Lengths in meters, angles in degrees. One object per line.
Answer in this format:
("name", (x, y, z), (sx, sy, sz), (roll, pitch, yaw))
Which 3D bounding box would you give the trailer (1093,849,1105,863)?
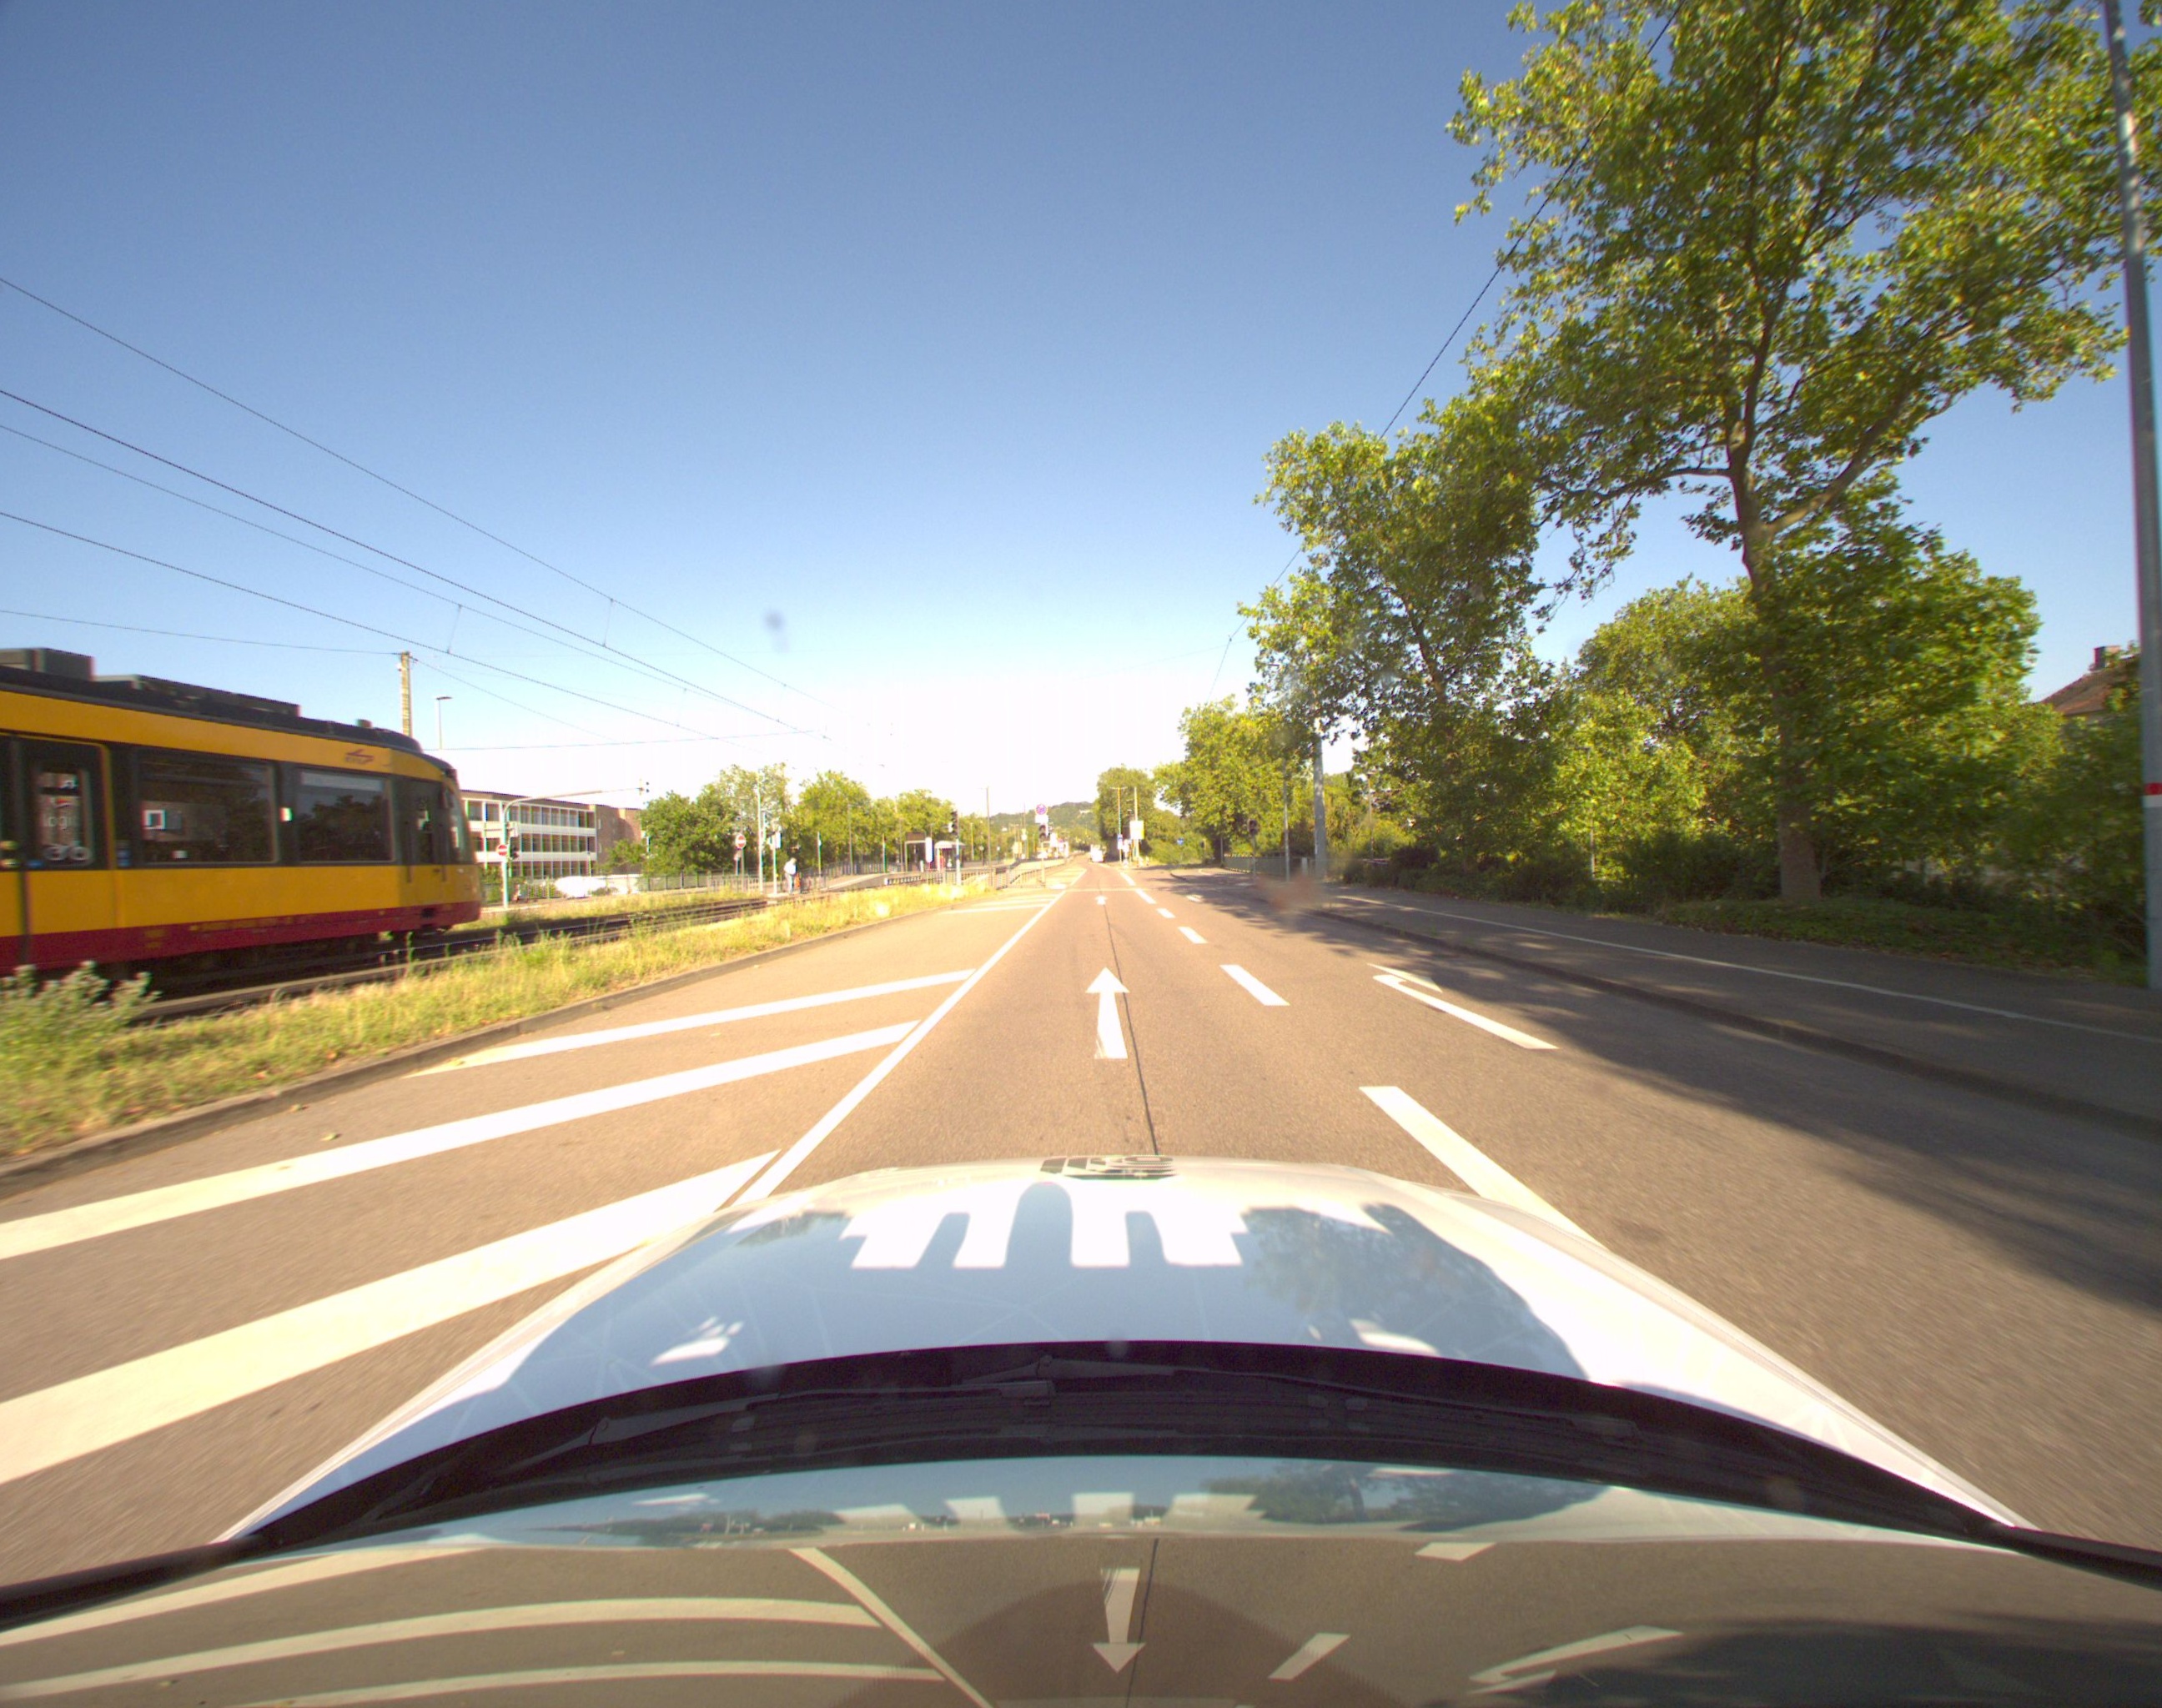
("trailer", (3.610, 0.287, 162.604), (2.241, 2.694, 5.952), (-1, 0, 3))

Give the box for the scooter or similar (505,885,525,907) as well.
("scooter or similar", (-29.769, 2.217, 42.830), (0.403, 1.095, 1.131), (-2, 0, -10))

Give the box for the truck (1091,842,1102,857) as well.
("truck", (3.877, -1.131, 210.301), (2.733, 3.783, 10.088), (0, 0, 0))

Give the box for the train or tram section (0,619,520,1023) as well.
("train or tram section", (-11.961, -0.294, 8.957), (2.873, 3.947, 12.115), (-2, 0, 1))

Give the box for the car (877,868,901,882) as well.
("car", (-22.127, 2.371, 93.983), (1.726, 1.446, 4.001), (-2, 0, 1))

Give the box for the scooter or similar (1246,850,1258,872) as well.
("scooter or similar", (10.048, 0.387, 47.865), (0.425, 1.275, 1.083), (-2, 0, 1))

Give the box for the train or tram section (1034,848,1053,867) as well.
("train or tram section", (-7.993, 0.736, 175.693), (2.817, 4.006, 15.880), (-1, 0, 2))

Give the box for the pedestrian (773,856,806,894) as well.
("pedestrian", (-13.024, 0.944, 36.360), (0.881, 1.644, 0.993), (-2, 0, 27))

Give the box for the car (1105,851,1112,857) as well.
("car", (6.335, -0.009, 188.706), (1.646, 1.437, 3.779), (-2, 0, 2))

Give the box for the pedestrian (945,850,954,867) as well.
("pedestrian", (-13.503, 0.489, 83.409), (0.692, 1.757, 0.592), (-2, -1, 37))
